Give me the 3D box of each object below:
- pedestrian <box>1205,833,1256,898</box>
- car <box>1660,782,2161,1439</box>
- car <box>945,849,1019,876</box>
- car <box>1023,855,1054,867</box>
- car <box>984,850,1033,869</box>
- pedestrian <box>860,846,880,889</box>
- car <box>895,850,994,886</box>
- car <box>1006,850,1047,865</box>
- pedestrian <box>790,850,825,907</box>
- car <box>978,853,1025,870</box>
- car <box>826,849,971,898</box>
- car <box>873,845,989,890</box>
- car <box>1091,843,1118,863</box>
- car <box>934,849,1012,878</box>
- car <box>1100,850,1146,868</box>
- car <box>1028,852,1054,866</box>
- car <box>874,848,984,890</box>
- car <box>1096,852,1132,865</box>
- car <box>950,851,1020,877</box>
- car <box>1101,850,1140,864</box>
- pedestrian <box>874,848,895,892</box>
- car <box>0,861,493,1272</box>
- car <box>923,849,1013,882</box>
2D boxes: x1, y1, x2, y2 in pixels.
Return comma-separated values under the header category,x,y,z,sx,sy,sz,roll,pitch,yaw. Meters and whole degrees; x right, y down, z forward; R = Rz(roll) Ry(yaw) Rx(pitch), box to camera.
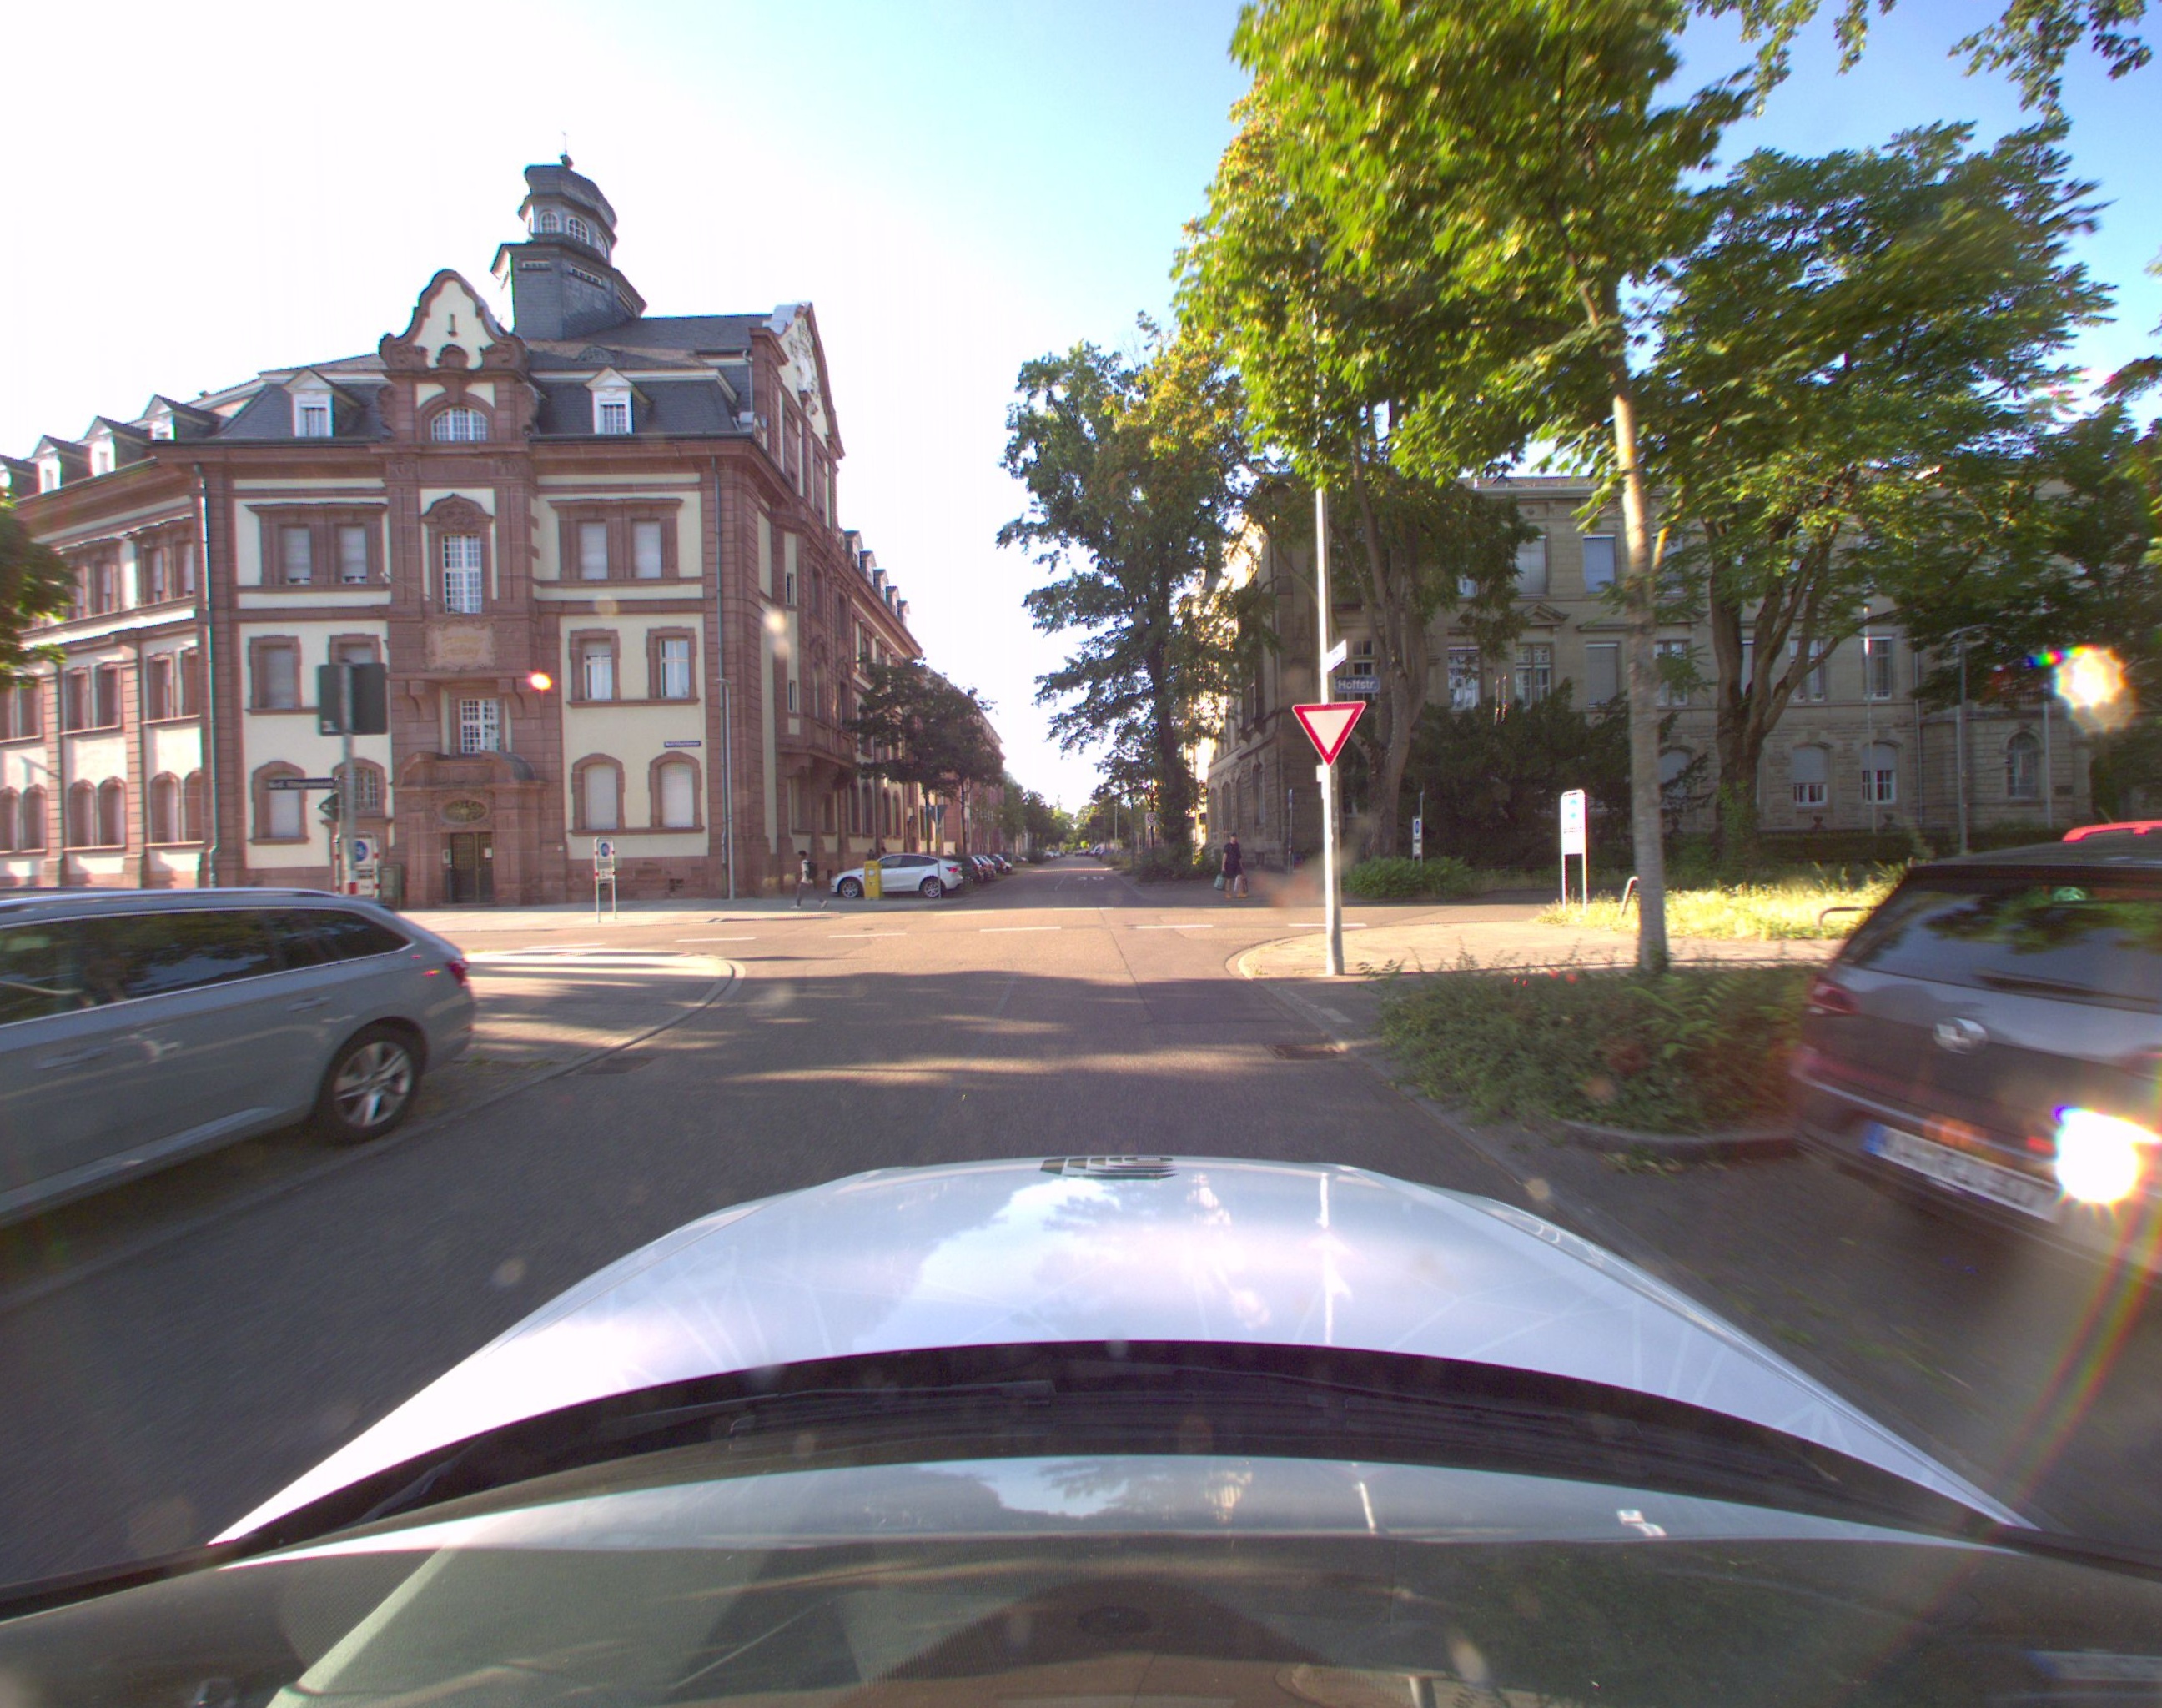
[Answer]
category,x,y,z,sx,sy,sz,roll,pitch,yaw
pedestrian,4.415,0.317,24.067,1.067,1.858,0.992,-1,0,-32
car,4.463,0.539,2.520,3.940,1.517,1.874,-2,-2,1
car,-6.250,0.527,51.724,4.471,1.608,1.841,-1,0,-3
car,-6.351,1.009,122.009,4.571,1.608,1.841,-1,0,-3
car,-6.751,0.501,76.338,4.471,1.608,1.841,-1,0,-3
pedestrian,-9.863,0.615,38.134,0.716,1.962,0.786,-2,-1,-3
car,-6.578,0.641,39.624,4.471,1.608,1.841,-1,0,-3
car,-6.058,0.362,90.608,4.471,1.608,1.841,-1,0,-3
pedestrian,-7.968,0.704,23.712,0.784,1.606,0.719,-2,-1,-6
car,-7.874,0.749,80.641,4.471,1.608,1.841,-1,0,-3
car,-6.553,0.694,29.624,4.830,1.594,1.841,-2,0,-3
car,-6.206,0.535,34.110,4.471,1.716,1.841,-2,0,-3
car,4.479,-0.221,155.603,4.872,3.617,1.841,-1,0,-1
car,-6.506,0.553,49.235,4.471,1.608,1.841,-1,0,-3
car,4.217,0.491,82.444,4.471,1.608,1.841,-1,0,-3
car,-6.938,0.865,141.988,4.571,2.264,1.841,-1,0,-3
car,-6.638,0.642,35.985,4.471,1.716,1.841,-2,0,-3
car,4.394,0.565,108.163,4.571,1.608,1.841,-1,0,-3
car,-6.399,0.679,54.833,4.471,1.608,1.841,-1,0,-3
car,4.841,0.399,100.137,4.571,1.608,1.841,-1,0,-3
pedestrian,-8.956,0.745,37.153,0.784,1.962,0.718,-2,-1,-8
car,-4.936,0.827,3.267,1.775,1.505,4.553,-1,0,1
car,-5.884,0.582,42.871,4.471,1.608,1.841,-1,0,-3
